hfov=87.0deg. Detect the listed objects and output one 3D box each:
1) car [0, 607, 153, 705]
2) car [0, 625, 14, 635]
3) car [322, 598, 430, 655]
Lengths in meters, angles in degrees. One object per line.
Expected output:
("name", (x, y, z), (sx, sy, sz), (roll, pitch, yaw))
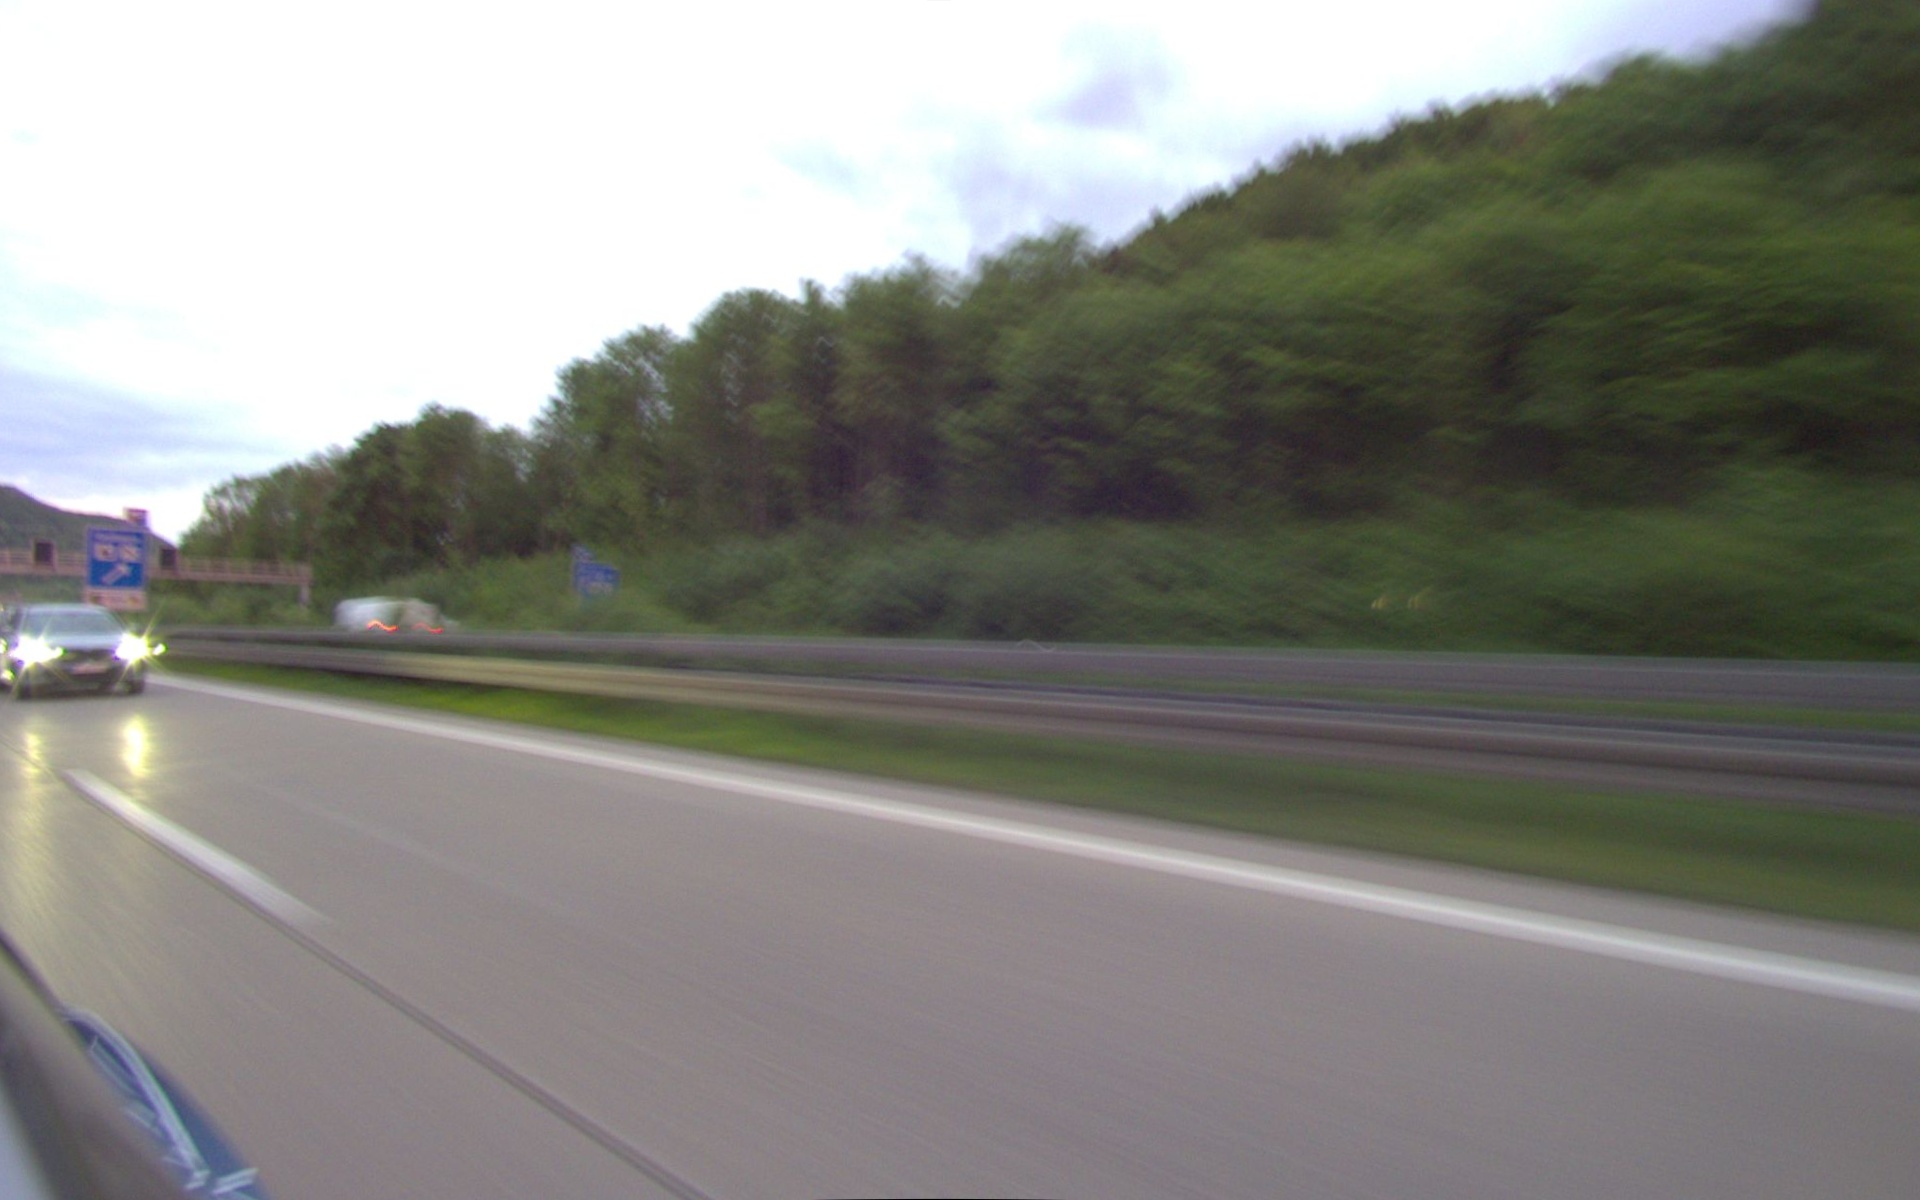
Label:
("car", (-17.665, 0.982, 19.832), (5.636, 1.672, 1.870), (-1, -1, 41))
("car", (-153.446, 4.800, 162.388), (4.773, 1.651, 1.829), (-1, -1, 41))
("car", (-26.046, 1.134, 45.000), (6.716, 2.377, 2.115), (-1, -1, 41))
